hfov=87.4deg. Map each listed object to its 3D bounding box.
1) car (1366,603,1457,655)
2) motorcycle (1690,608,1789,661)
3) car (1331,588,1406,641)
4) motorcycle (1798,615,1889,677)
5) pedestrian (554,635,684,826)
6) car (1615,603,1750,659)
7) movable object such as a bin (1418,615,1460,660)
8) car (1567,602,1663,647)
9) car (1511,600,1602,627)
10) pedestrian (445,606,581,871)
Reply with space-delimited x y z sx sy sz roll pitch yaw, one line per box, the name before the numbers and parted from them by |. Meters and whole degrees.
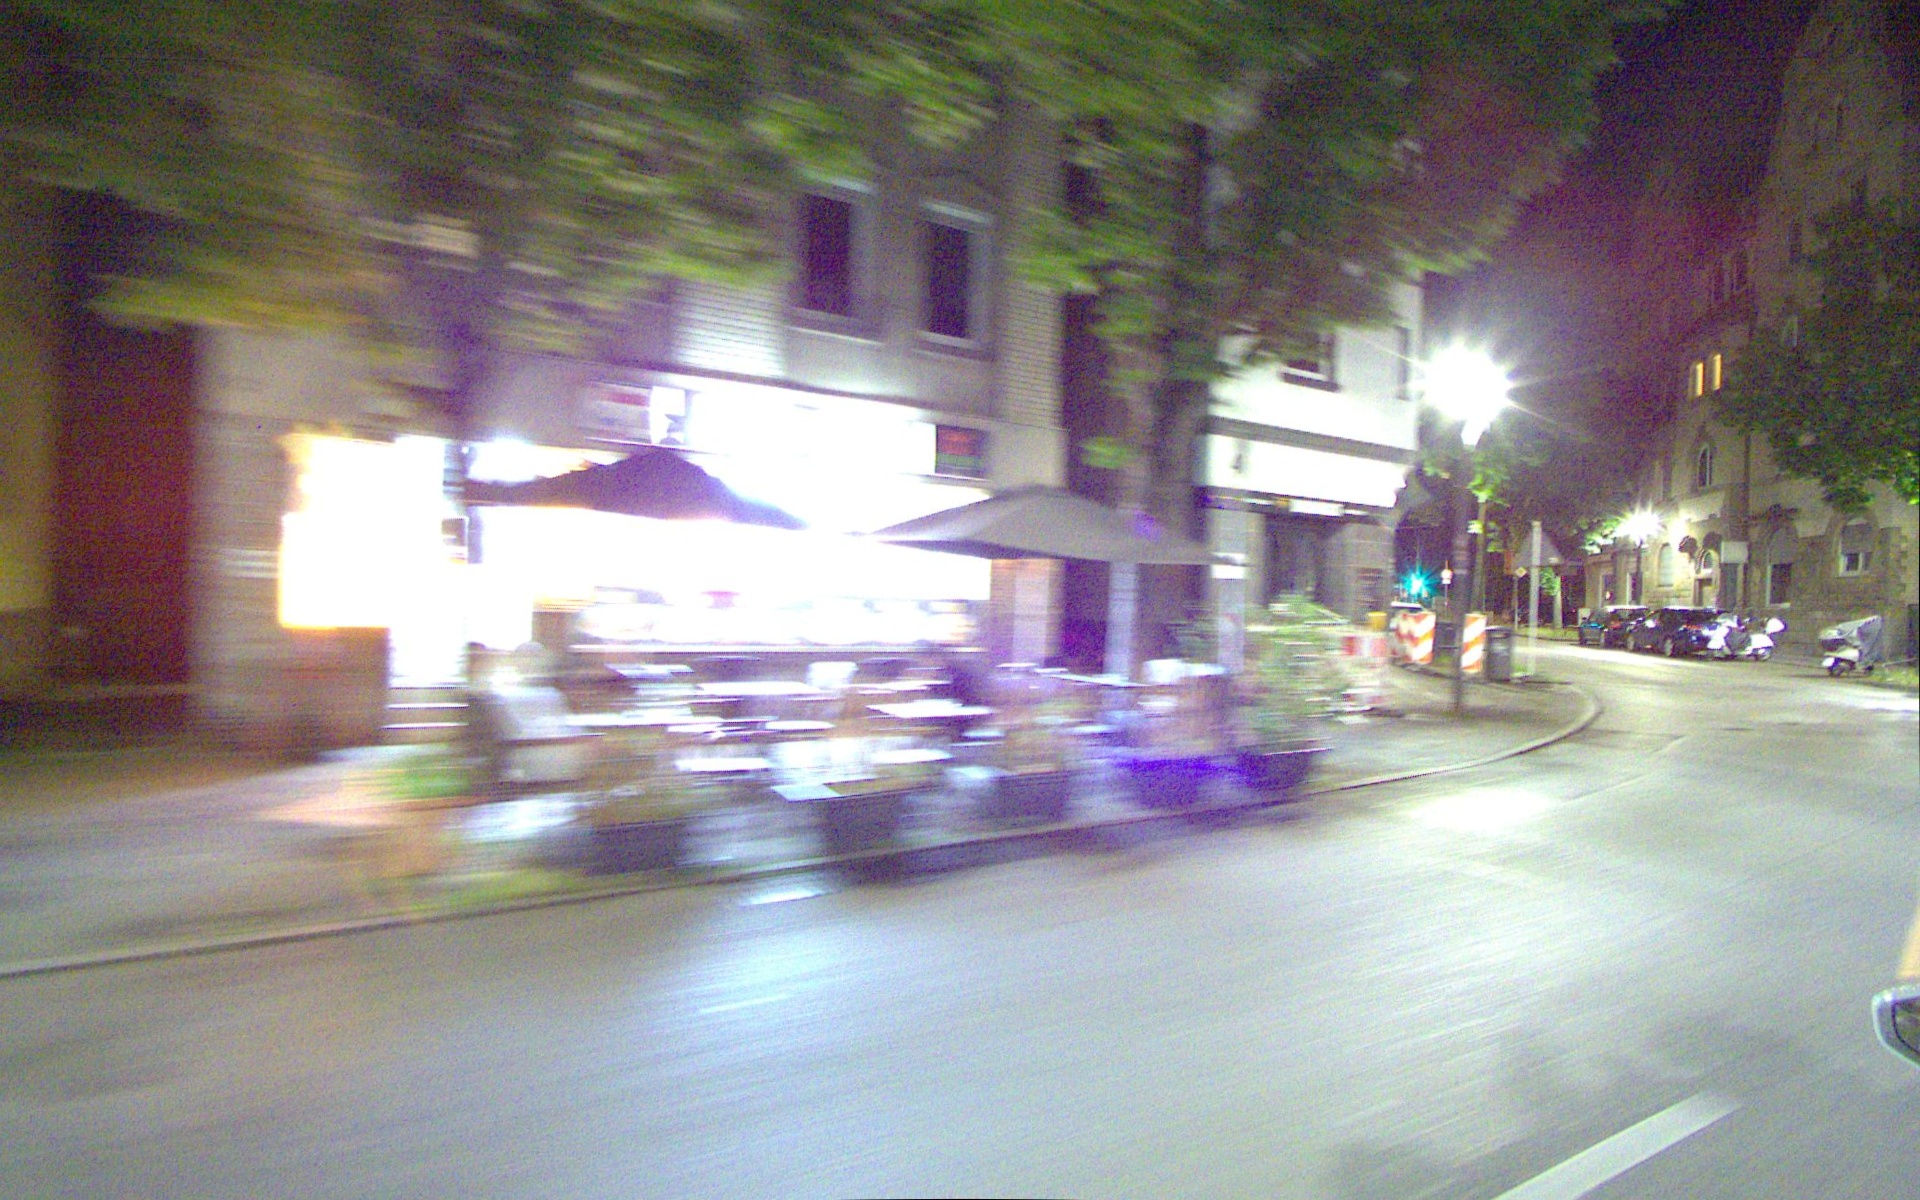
car | 14.367 0.865 32.234 1.808 1.469 4.883 2 1 14
motorcycle | 21.753 0.964 28.071 2.018 1.425 0.925 0 1 4
car | 15.748 0.520 38.950 1.851 1.868 4.817 2 1 13
motorcycle | 20.273 1.043 23.050 1.916 1.371 0.759 1 1 -22
pedestrian | -2.298 0.840 6.766 0.672 1.179 0.570 1 1 -37
car | 22.065 0.892 30.903 1.702 1.521 4.469 1 0 12
movable object such as a bin | 11.907 0.929 24.975 0.681 1.063 0.621 2 0 -27
car | 23.334 0.825 35.953 1.707 1.473 4.001 1 1 16
car | 33.099 0.750 55.874 3.945 1.441 1.853 1 -1 12
pedestrian | -2.579 0.740 5.775 0.571 1.396 0.671 1 1 -37
